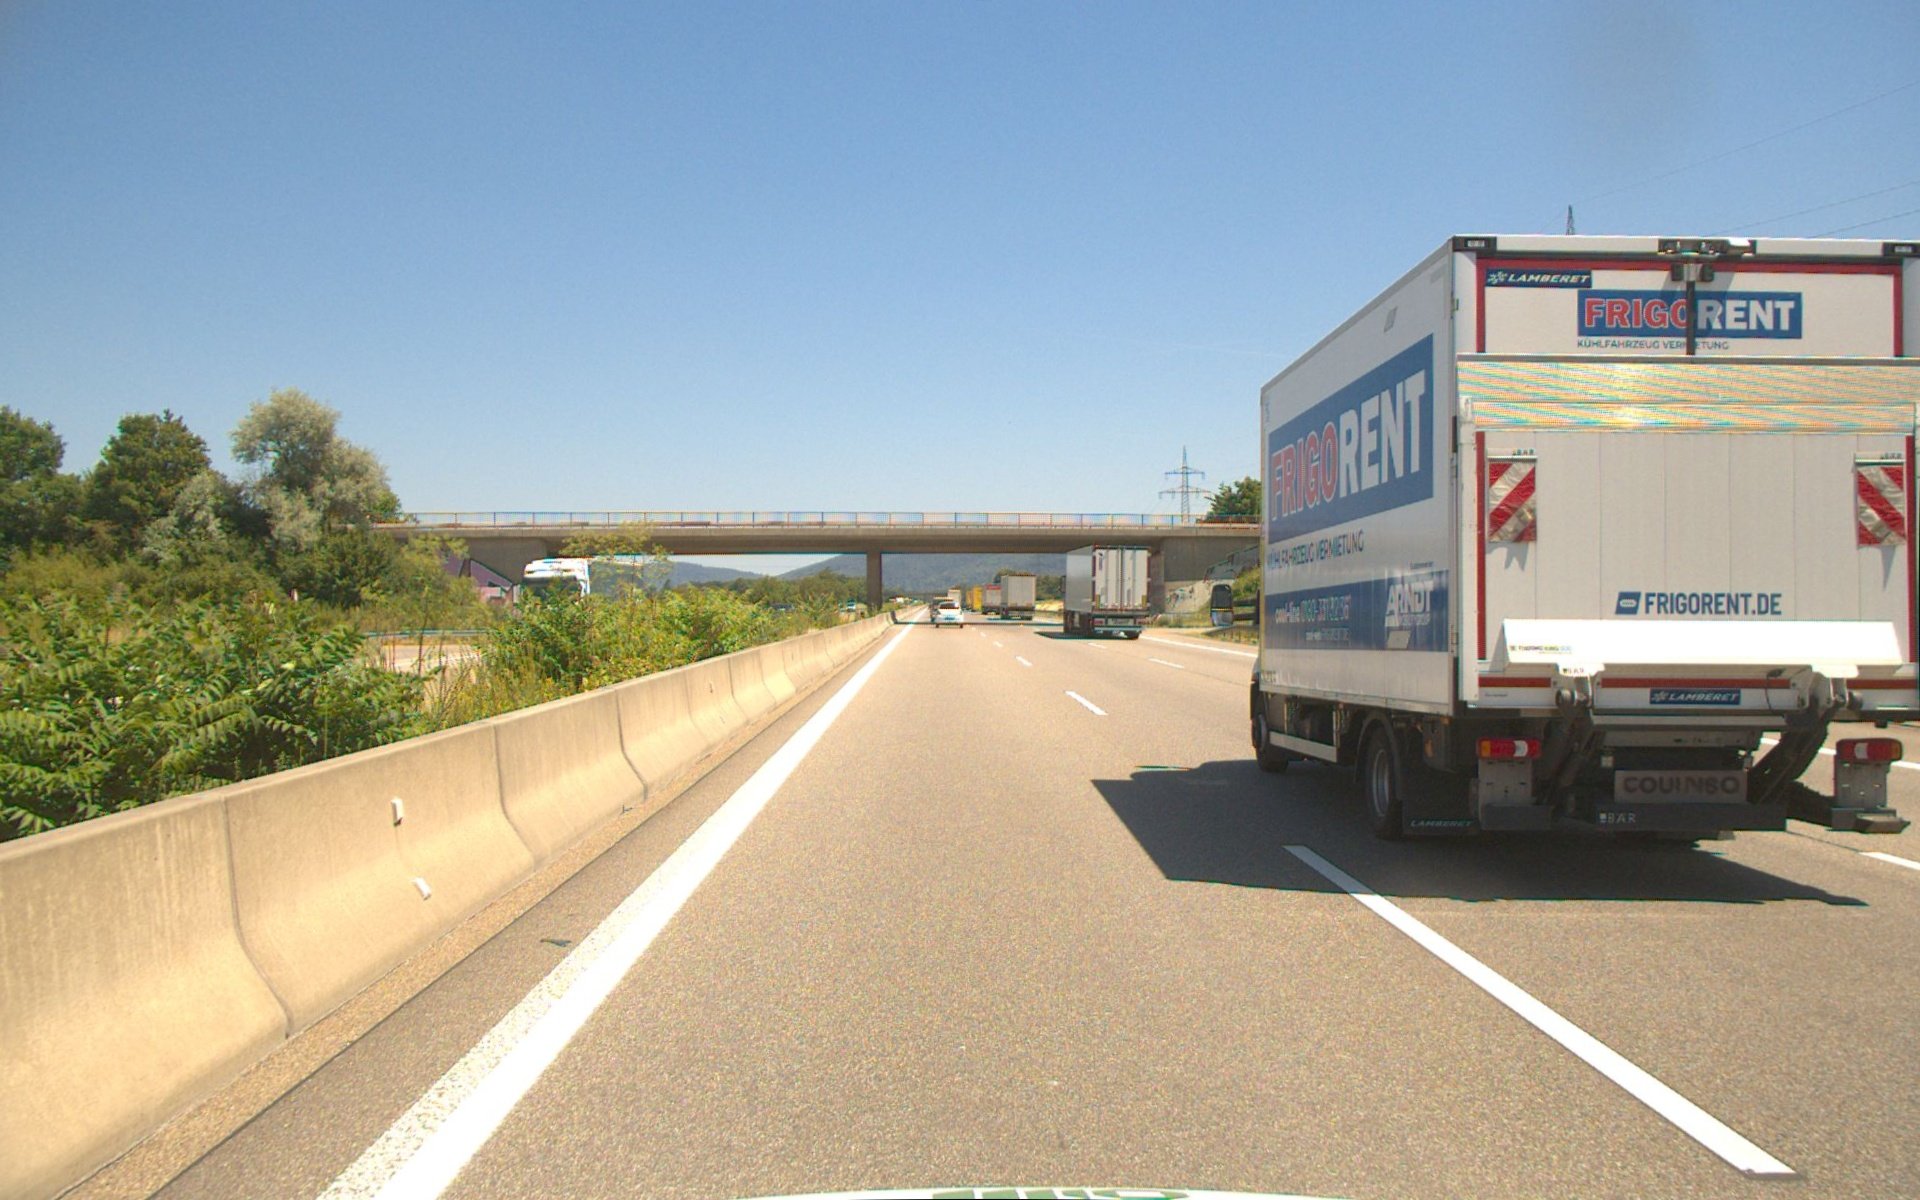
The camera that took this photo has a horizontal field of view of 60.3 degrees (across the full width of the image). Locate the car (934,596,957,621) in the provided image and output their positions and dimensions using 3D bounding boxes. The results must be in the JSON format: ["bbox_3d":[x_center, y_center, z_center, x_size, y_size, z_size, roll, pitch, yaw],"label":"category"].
[{"bbox_3d":[-1.126,0.646,130.362,1.725,1.883,4.000,0,0,0],"label":"car"}]

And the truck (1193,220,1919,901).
[{"bbox_3d":[3.782,-0.188,12.448,2.726,3.432,8.125,0,0,-1],"label":"truck"}]

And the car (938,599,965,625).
[{"bbox_3d":[-0.521,0.709,99.457,1.574,1.493,4.000,0,0,0],"label":"car"}]

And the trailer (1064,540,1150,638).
[{"bbox_3d":[6.850,-0.489,79.271,2.738,4.236,13.953,0,0,-1],"label":"trailer"}]

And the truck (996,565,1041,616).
[{"bbox_3d":[5.385,-0.851,155.603,3.449,4.493,14.588,-1,0,-1],"label":"truck"}]

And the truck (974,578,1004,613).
[{"bbox_3d":[3.865,-0.630,223.427,3.449,4.493,14.588,-1,0,-1],"label":"truck"}]

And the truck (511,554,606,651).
[{"bbox_3d":[-17.739,0.106,73.414,2.777,4.007,5.823,-2,0,-1],"label":"truck"}]

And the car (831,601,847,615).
[{"bbox_3d":[-14.922,0.988,204.074,1.768,1.702,3.999,-1,0,-1],"label":"car"}]

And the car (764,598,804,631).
[{"bbox_3d":[-10.136,0.829,95.652,1.869,1.768,4.121,-2,0,-1],"label":"car"}]
